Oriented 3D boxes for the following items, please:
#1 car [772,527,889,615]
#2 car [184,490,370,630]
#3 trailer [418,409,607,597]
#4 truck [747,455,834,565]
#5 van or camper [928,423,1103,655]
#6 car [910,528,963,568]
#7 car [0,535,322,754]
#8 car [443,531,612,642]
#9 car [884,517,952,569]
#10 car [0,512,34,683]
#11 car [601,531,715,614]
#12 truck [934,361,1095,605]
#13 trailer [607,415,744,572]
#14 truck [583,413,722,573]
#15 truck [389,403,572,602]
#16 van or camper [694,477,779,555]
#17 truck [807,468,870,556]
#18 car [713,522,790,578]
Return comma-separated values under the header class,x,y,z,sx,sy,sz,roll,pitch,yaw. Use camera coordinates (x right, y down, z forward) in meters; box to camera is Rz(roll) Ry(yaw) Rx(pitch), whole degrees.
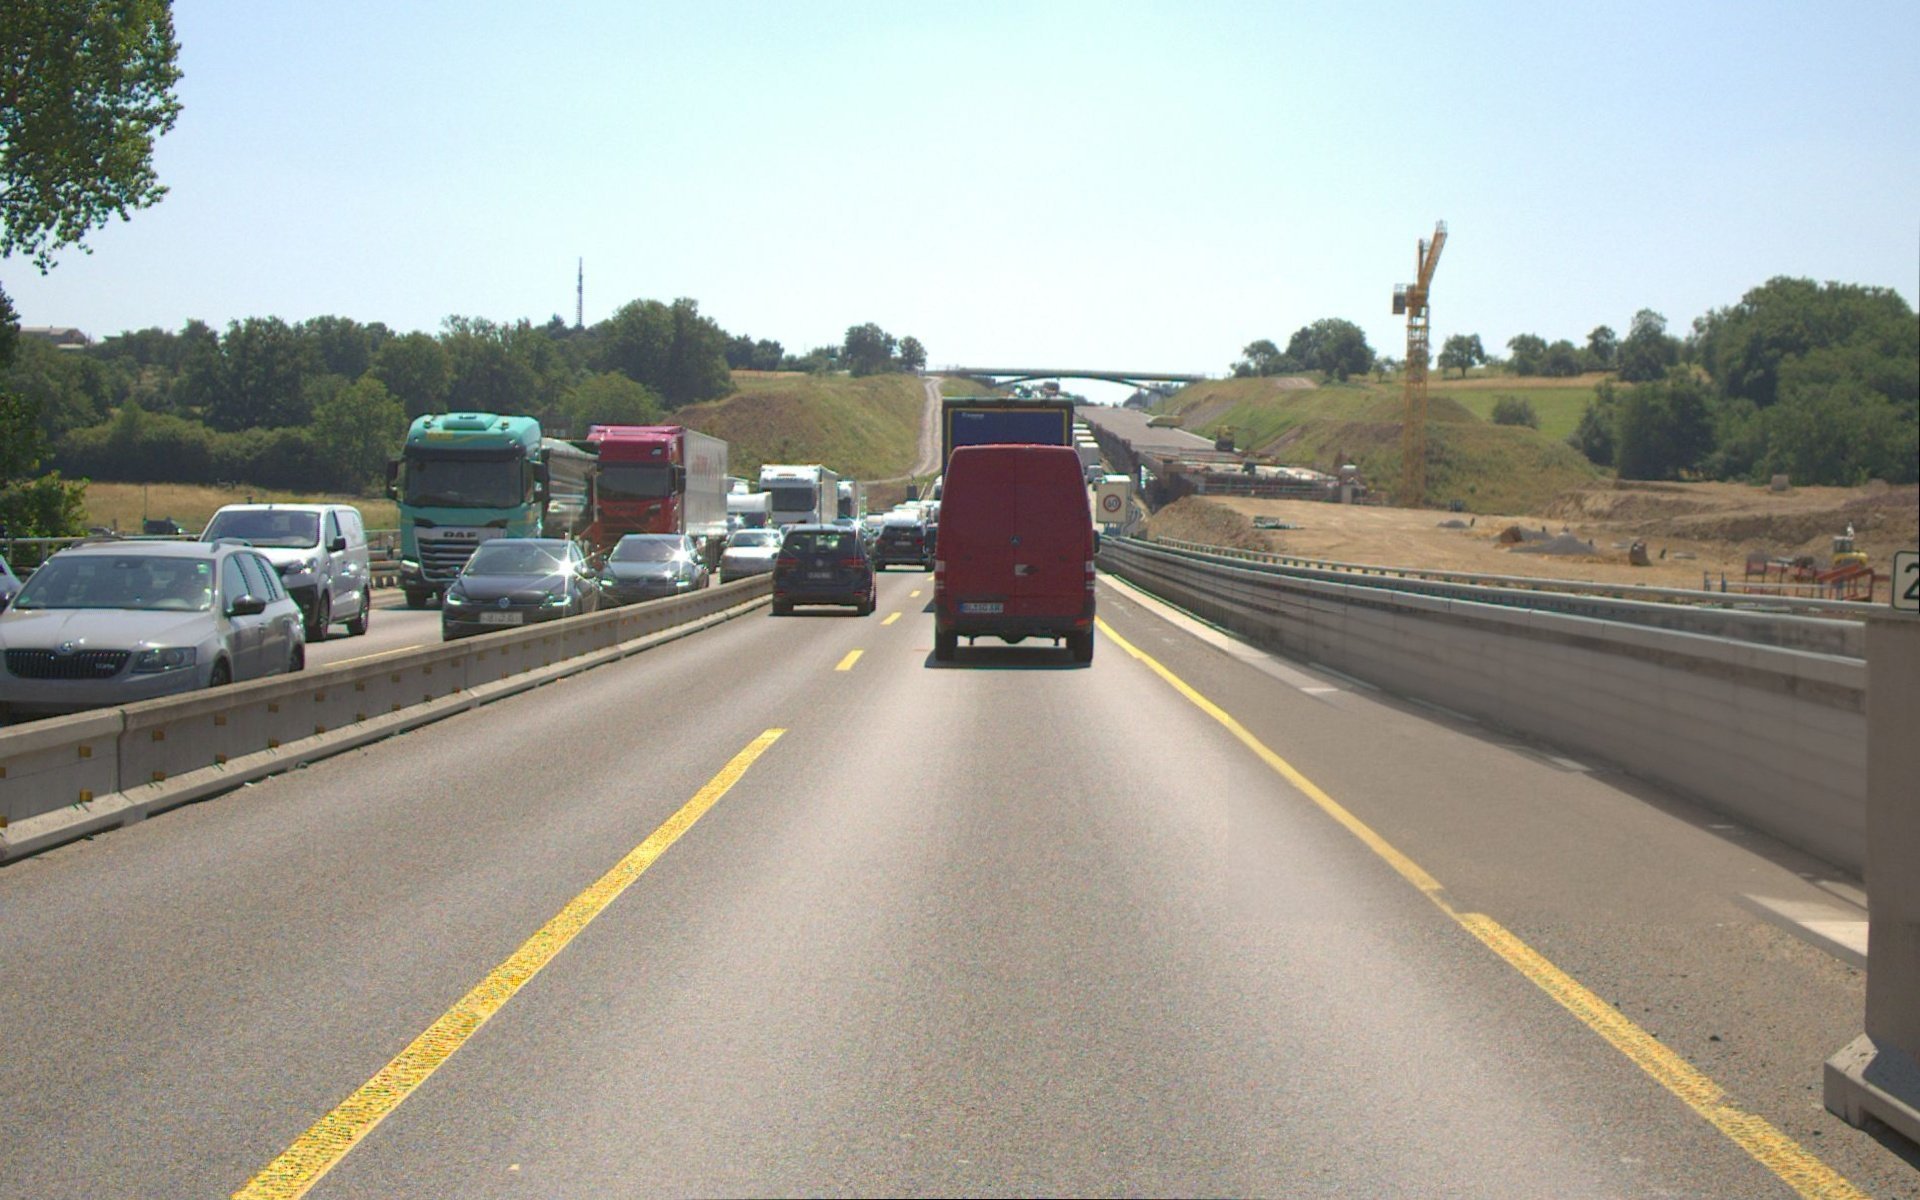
class,x,y,z,sx,sy,sz,roll,pitch,yaw
car,-2.357,-0.560,63.621,2.012,1.539,4.133,1,1,0
car,-9.469,-0.584,47.994,1.859,1.861,4.630,0,1,-3
trailer,-9.280,-2.030,72.161,2.794,3.660,8.958,1,2,0
truck,-7.218,-3.841,147.166,3.078,4.521,7.102,1,1,2
van or camper,0.637,-0.783,43.260,2.029,2.735,4.516,1,1,-1
car,-0.942,-2.122,139.578,2.012,1.539,4.133,2,2,0
car,-5.983,0.254,25.139,1.825,1.414,4.657,-1,1,-1
car,-5.757,-0.214,46.178,1.679,1.387,4.156,-1,1,1
car,-1.297,-1.812,108.173,2.012,1.539,4.133,2,2,0
car,-9.696,-0.005,30.703,1.813,1.564,4.000,0,1,-1
car,-5.408,-0.513,61.871,1.631,1.403,4.103,-1,1,1
truck,1.026,-2.338,69.948,3.020,4.677,6.933,-1,1,-1
trailer,-8.000,-3.056,97.920,2.806,4.162,11.799,1,2,0
truck,-8.078,-2.838,91.069,2.816,4.023,6.522,1,2,2
truck,-9.289,-1.864,67.144,2.796,3.709,5.374,0,1,0
van or camper,-7.920,-3.001,122.364,2.504,2.689,5.243,1,1,2
truck,-6.202,-4.512,176.058,2.806,4.377,6.225,1,1,2
car,-5.413,-1.323,89.684,1.781,1.375,4.712,-1,1,-1
